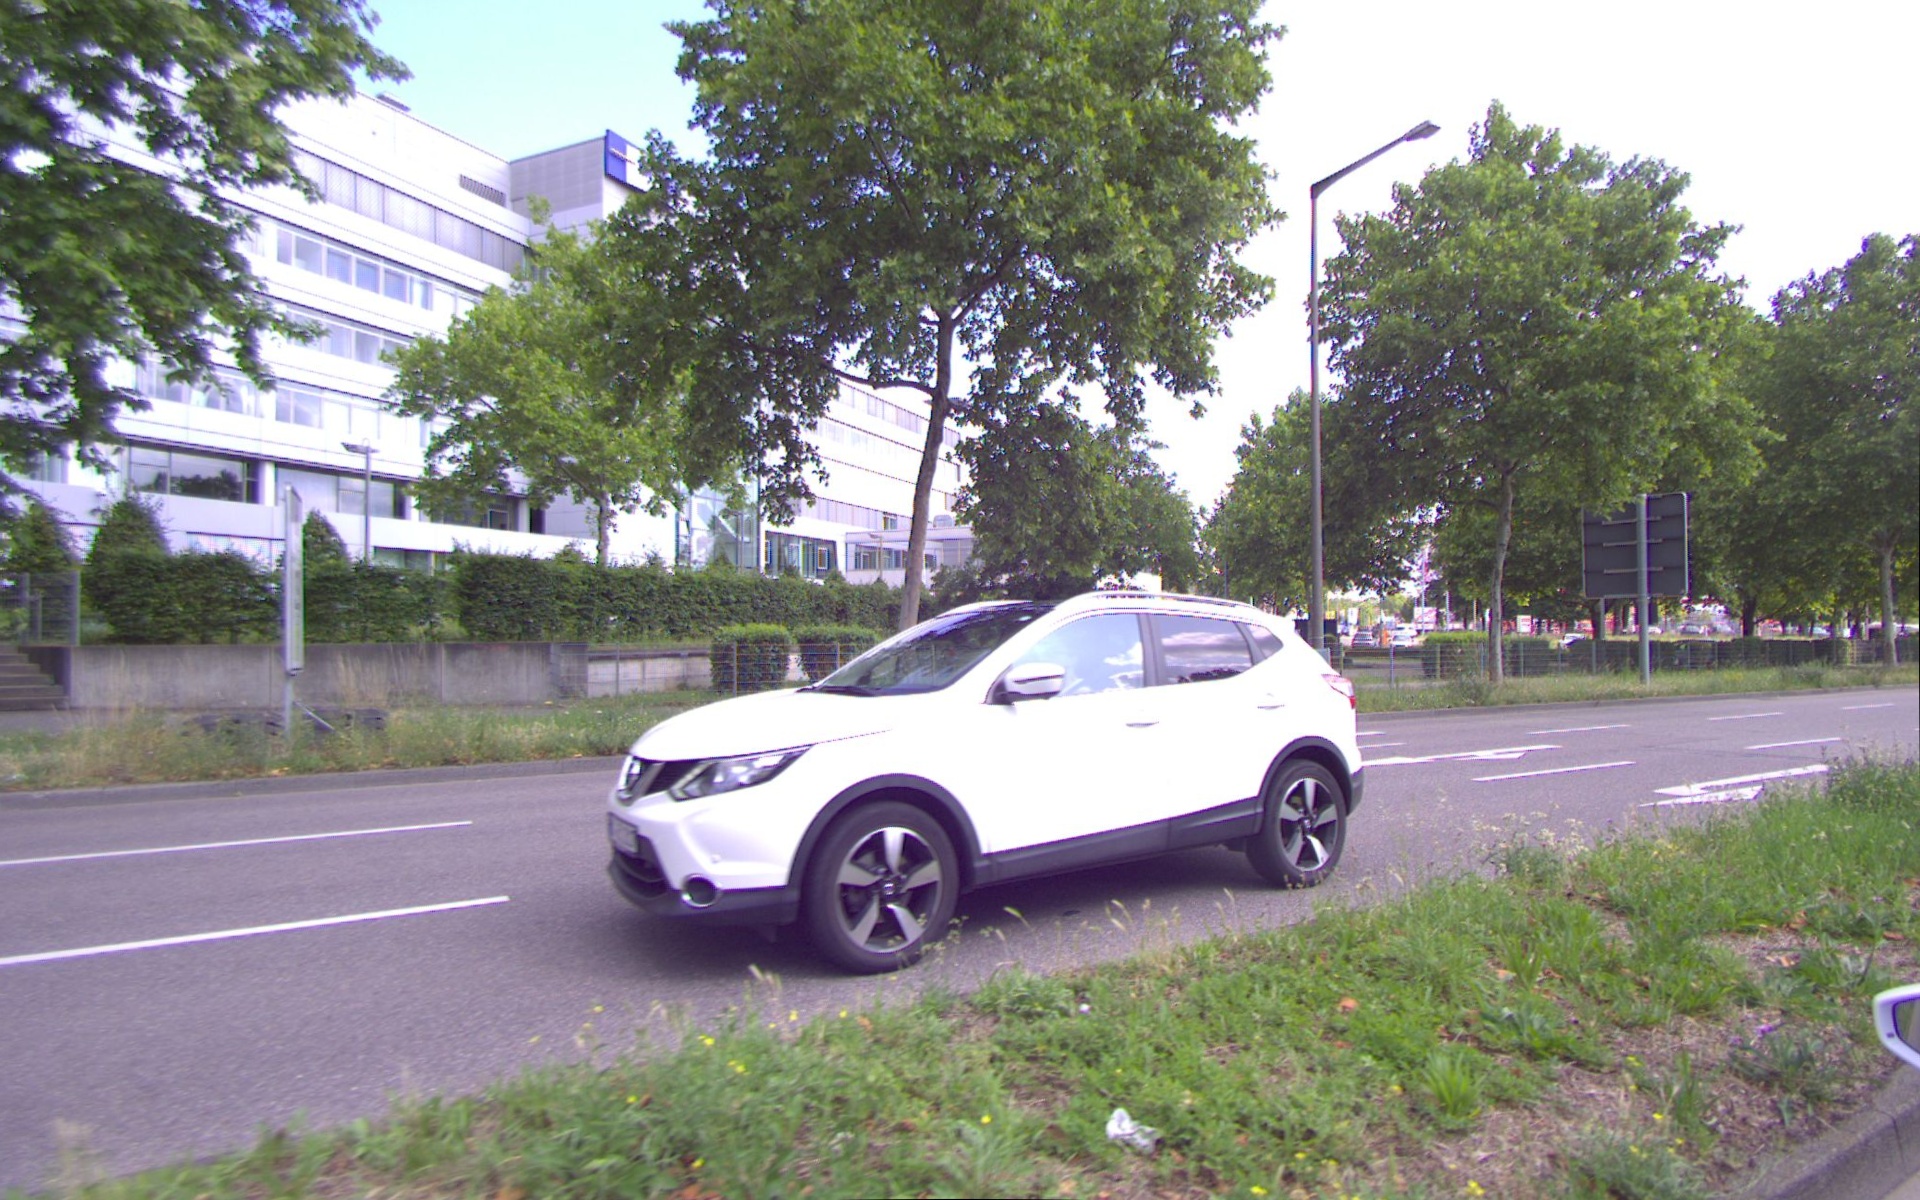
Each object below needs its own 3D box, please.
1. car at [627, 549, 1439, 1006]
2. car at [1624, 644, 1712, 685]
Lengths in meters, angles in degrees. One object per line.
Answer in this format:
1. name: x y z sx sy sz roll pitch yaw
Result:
1. car: 0.559 0.735 5.610 4.304 1.661 1.804 2 -3 -33
2. car: 32.956 3.008 46.768 3.955 1.616 1.882 6 -3 -31
